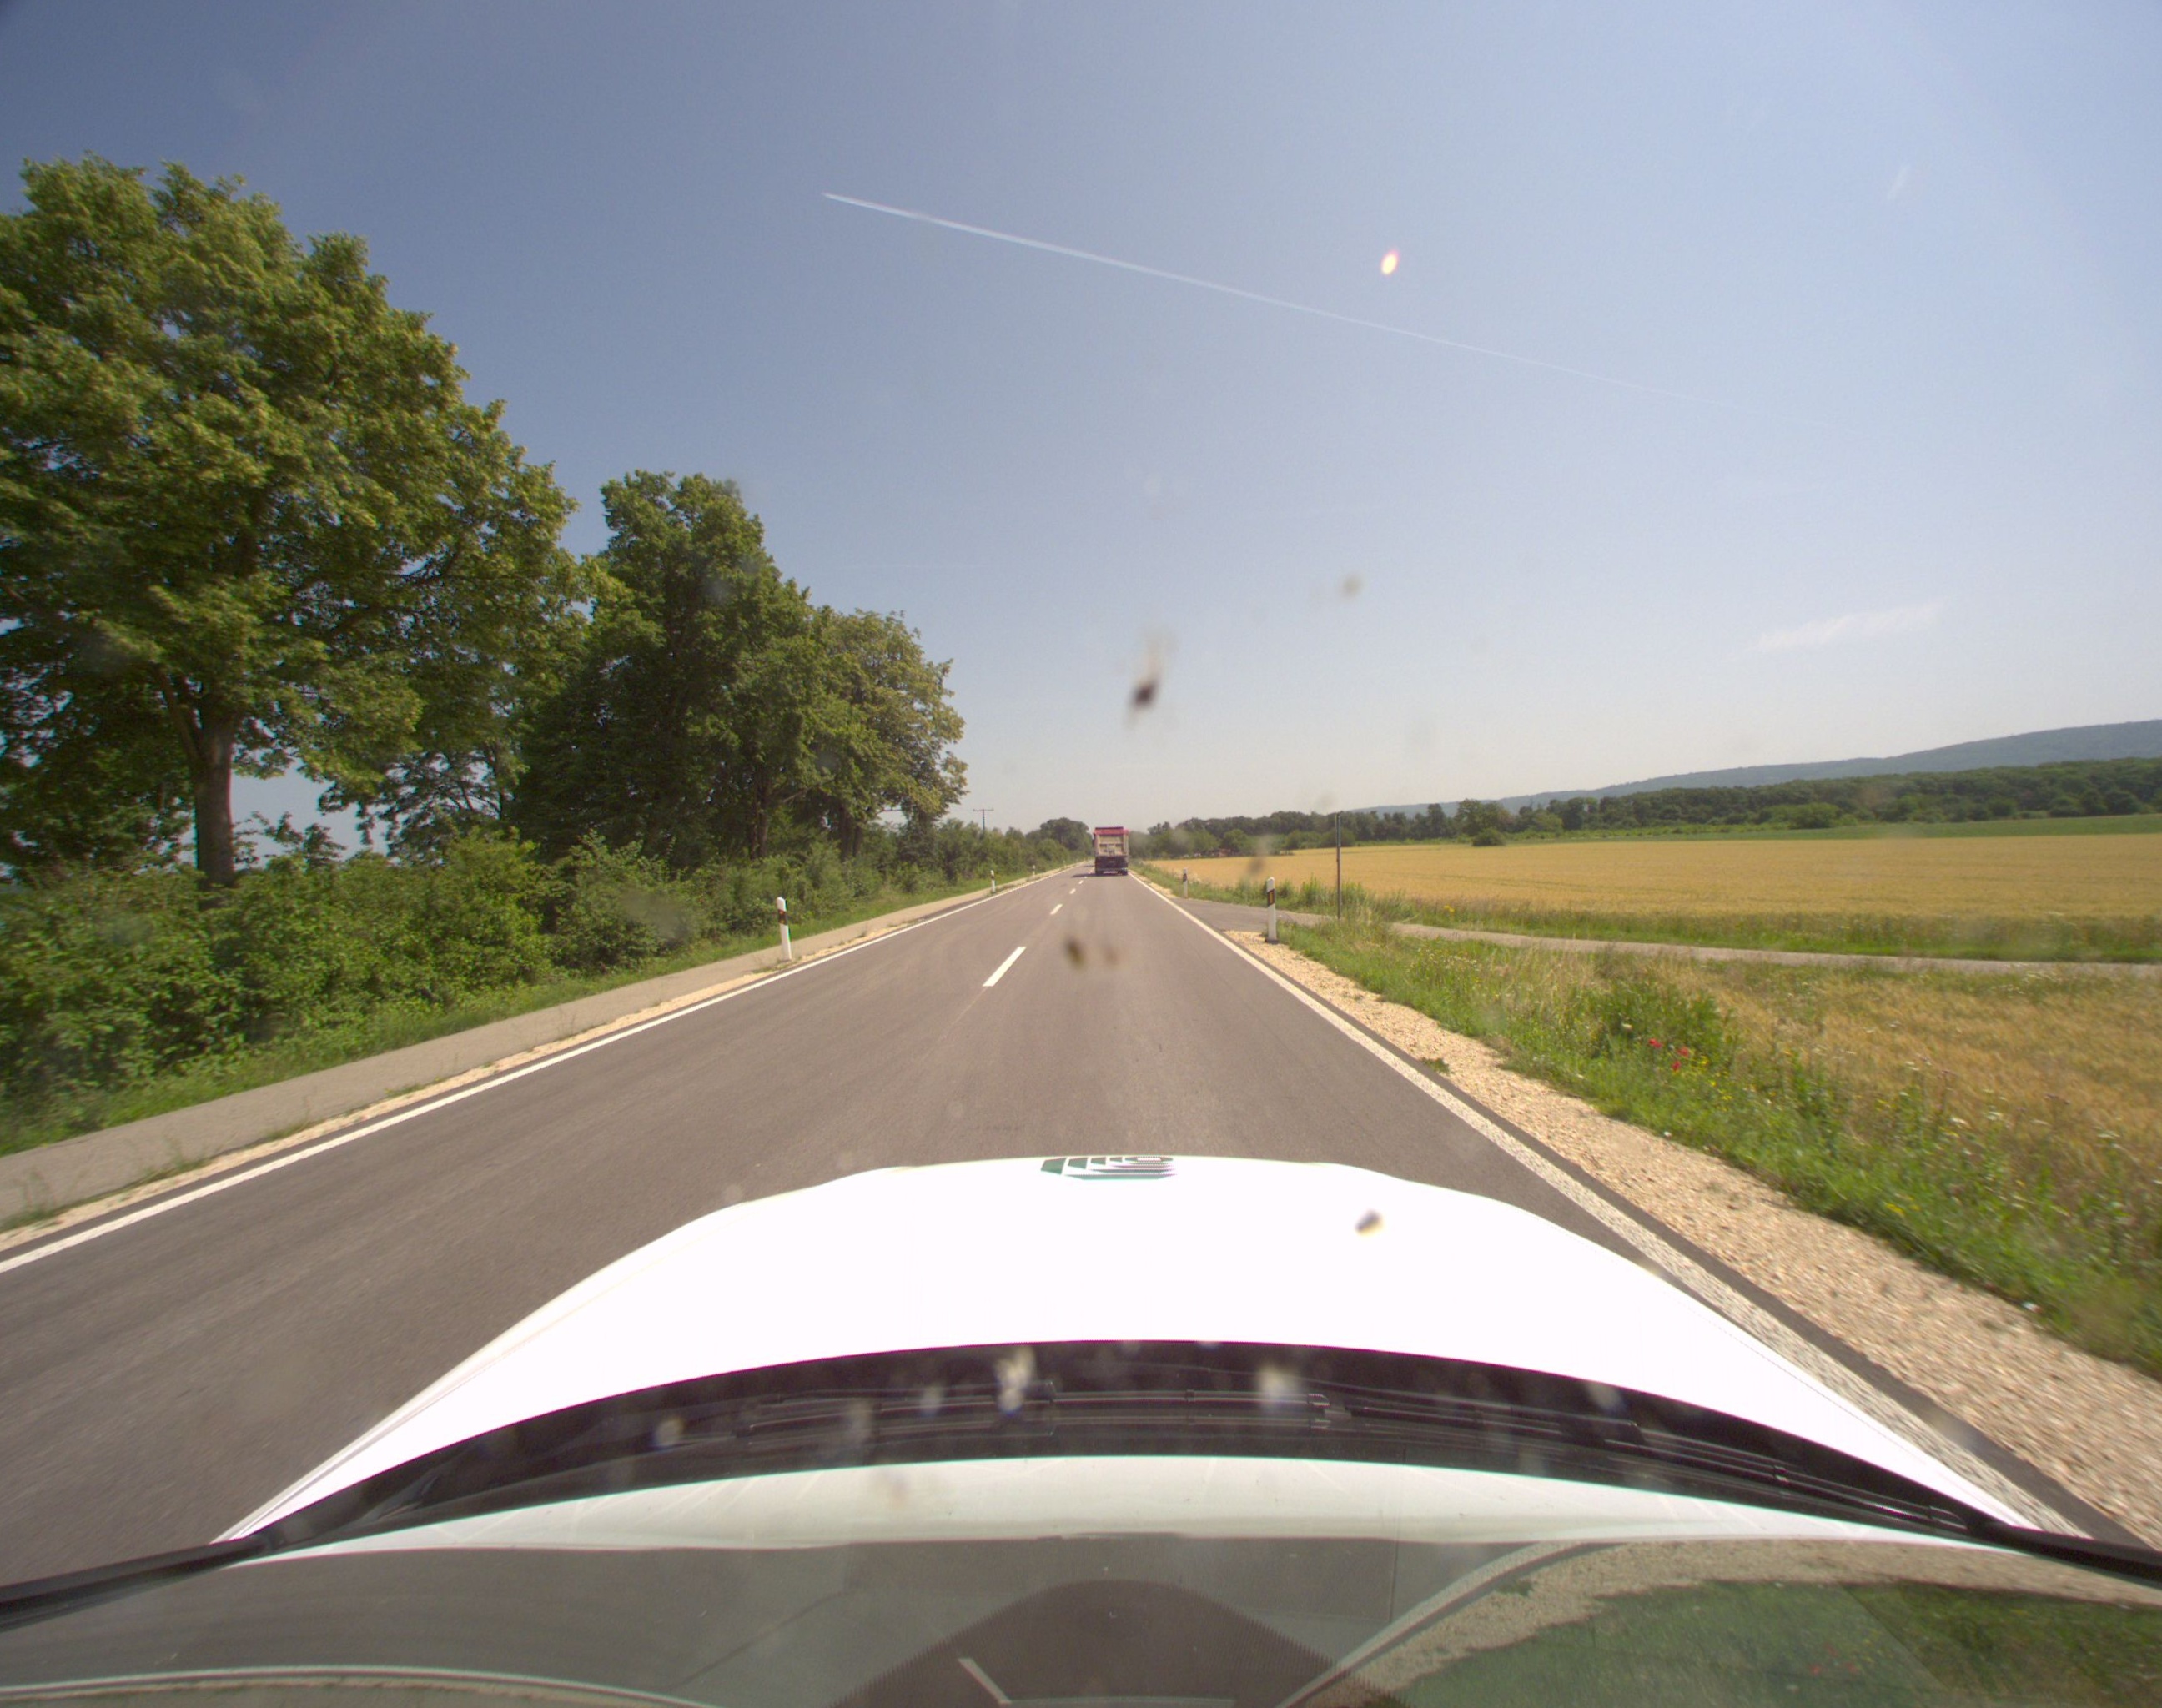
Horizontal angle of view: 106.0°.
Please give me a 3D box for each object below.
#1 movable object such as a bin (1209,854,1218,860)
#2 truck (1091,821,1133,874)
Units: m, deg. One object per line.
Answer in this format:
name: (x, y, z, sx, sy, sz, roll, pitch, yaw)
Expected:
movable object such as a bin: (33.039, 0.689, 202.804, 1.567, 1.496, 3.655, -2, 0, -3)
truck: (2.438, -0.429, 65.270, 2.998, 3.874, 12.213, 0, -1, 2)
